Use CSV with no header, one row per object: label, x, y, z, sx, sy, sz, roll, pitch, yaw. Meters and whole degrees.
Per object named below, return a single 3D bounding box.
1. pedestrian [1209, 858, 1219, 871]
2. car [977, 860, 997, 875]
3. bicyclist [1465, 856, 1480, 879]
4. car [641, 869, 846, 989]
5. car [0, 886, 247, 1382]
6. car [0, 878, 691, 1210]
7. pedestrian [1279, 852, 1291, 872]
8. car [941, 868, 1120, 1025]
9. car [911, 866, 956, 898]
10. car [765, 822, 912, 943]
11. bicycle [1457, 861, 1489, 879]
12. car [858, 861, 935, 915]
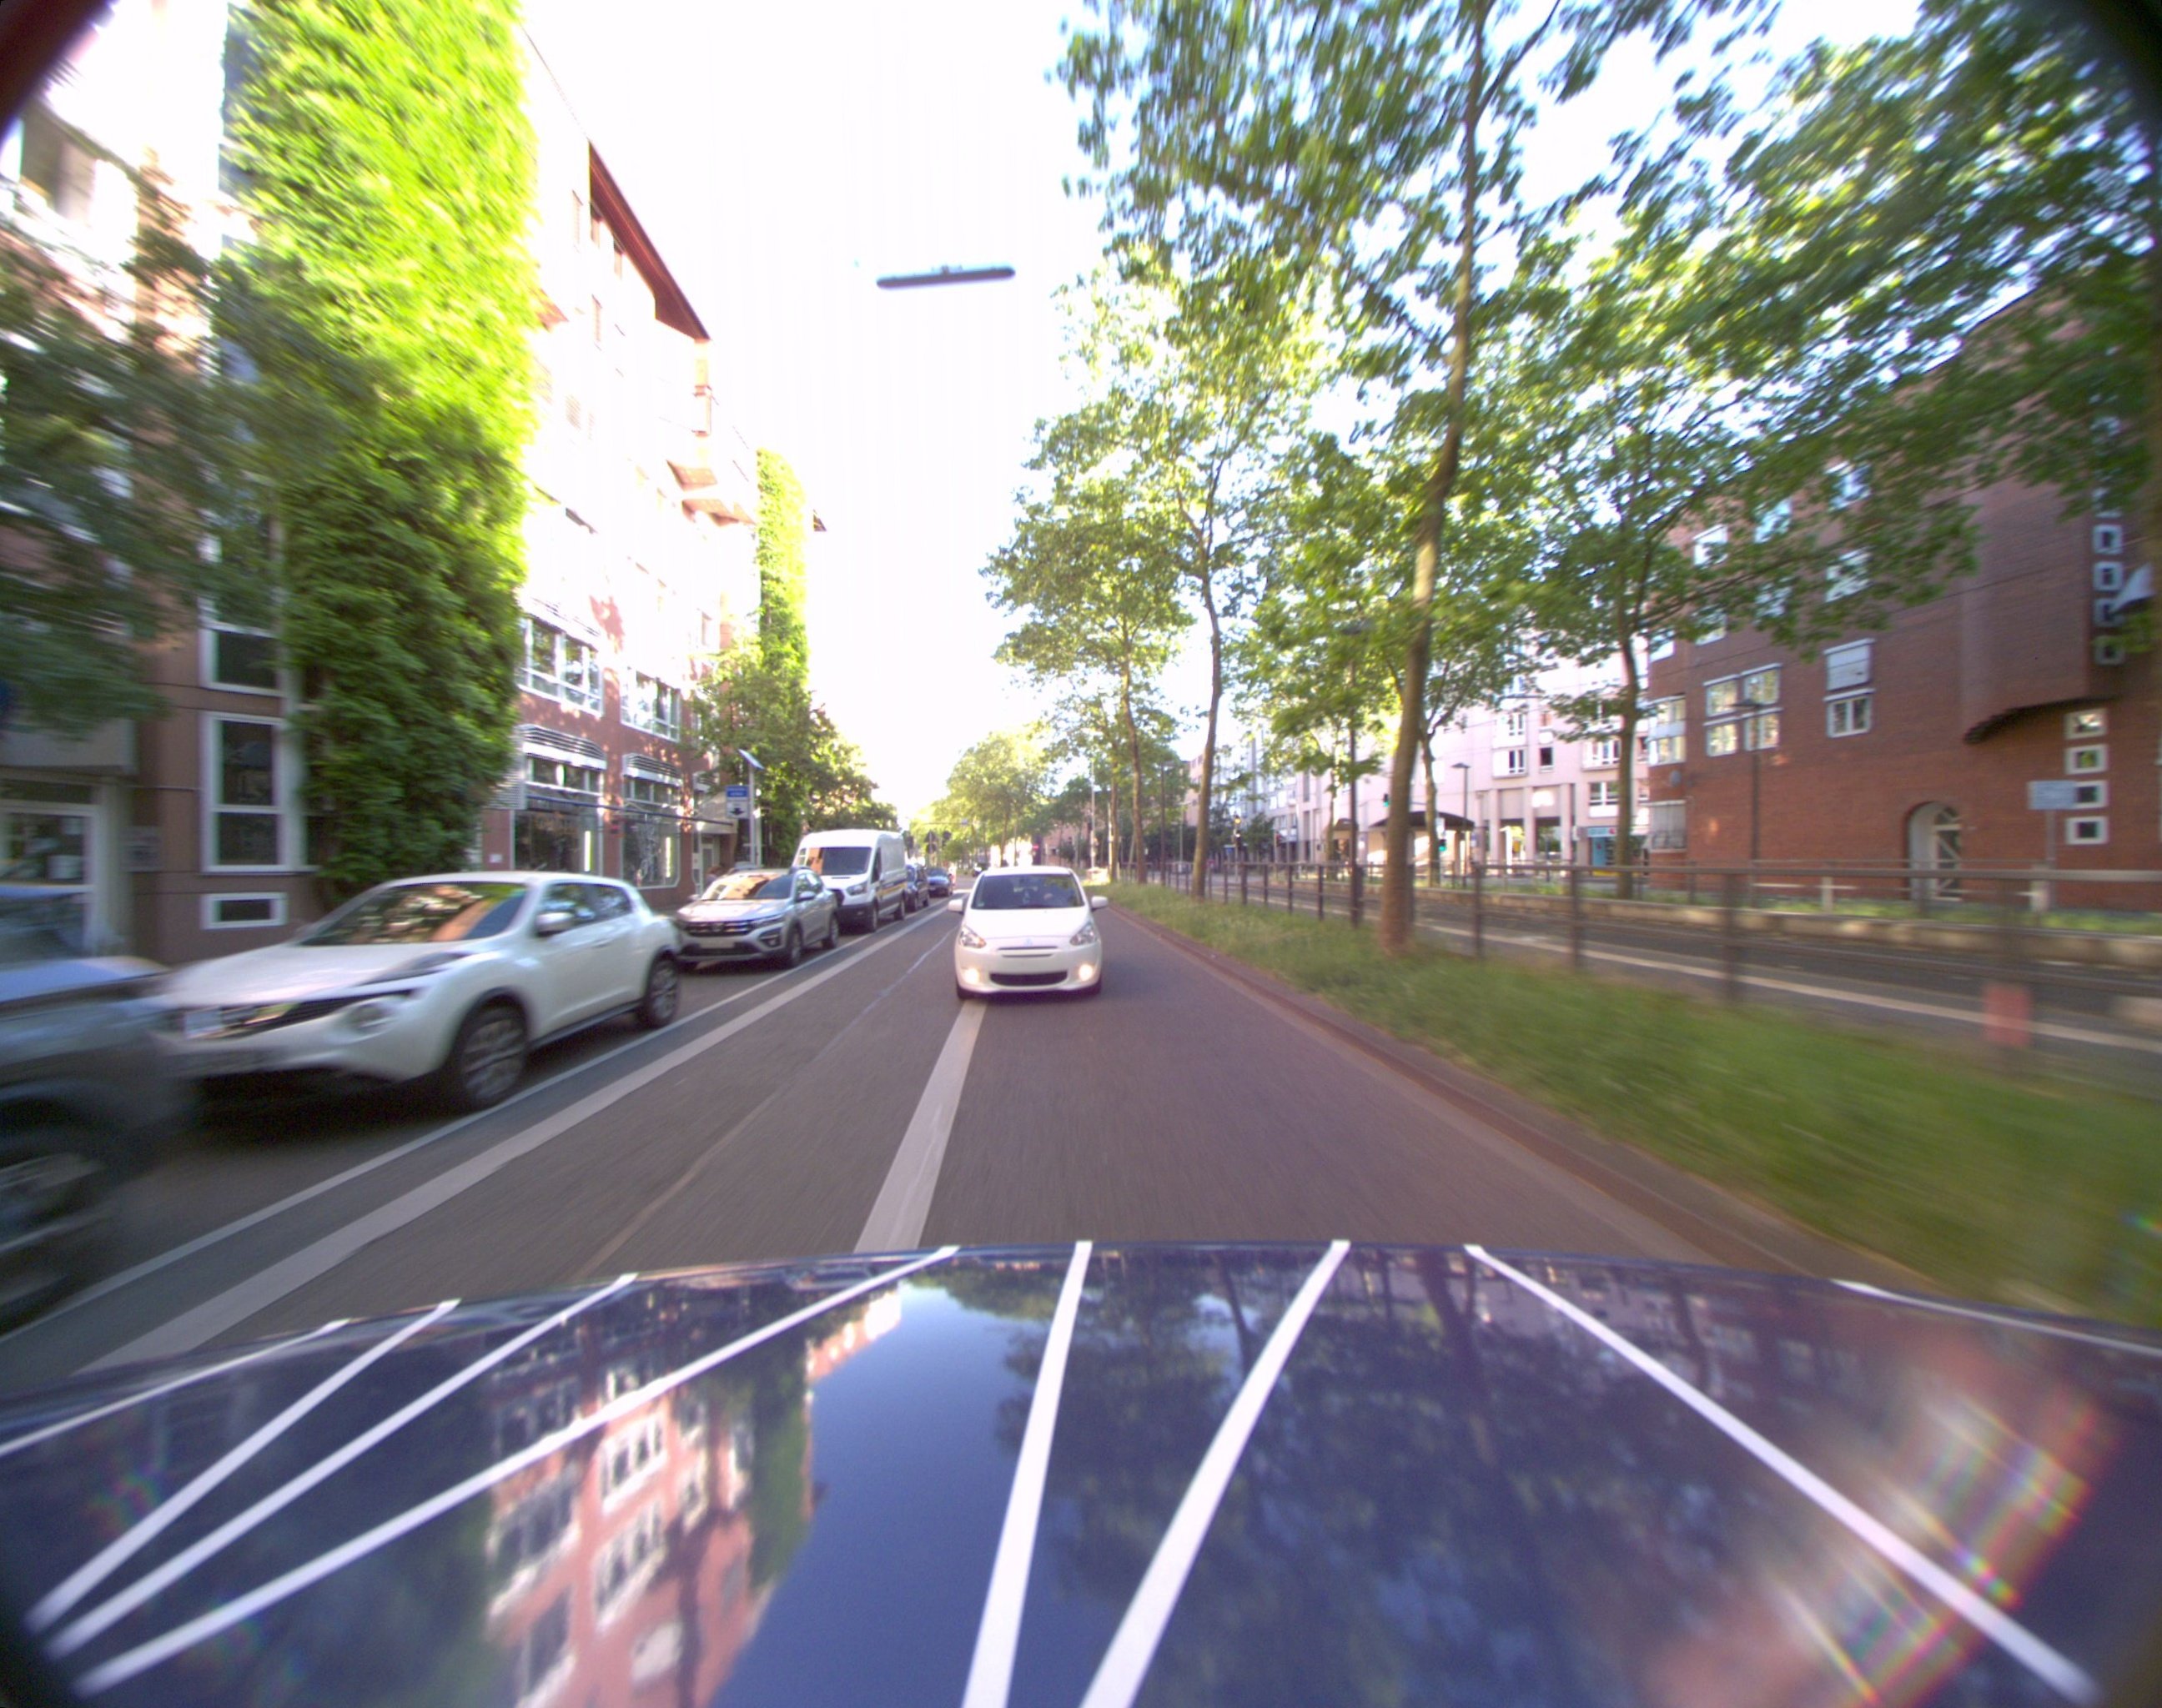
pedestrian,15.867,1.242,90.556,1.006,1.592,0.876,-2,1,1
car,-10.761,1.513,87.075,1.999,1.524,3.998,-2,1,-4
bicyclist,27.876,0.967,54.136,0.720,1.639,0.667,-3,1,-34
car,-5.301,1.075,12.552,1.834,1.569,3.998,-1,0,-4
car,-4.472,0.971,1.116,1.792,1.660,4.438,-1,0,-4
car,-4.890,1.044,5.954,1.834,1.569,3.998,-1,0,-4
pedestrian,20.886,0.823,77.725,1.006,2.002,0.876,-2,1,2
car,-0.769,0.971,9.831,1.809,1.492,4.198,-1,0,-7
car,-6.846,1.262,35.557,1.809,1.322,3.989,-1,0,-7
car,-5.799,0.608,19.107,2.121,2.550,5.903,-1,0,-4
bicycle,27.906,1.123,54.111,0.775,1.254,1.814,-3,1,-35
car,-6.166,1.074,25.870,1.809,1.617,4.474,-1,0,-5
